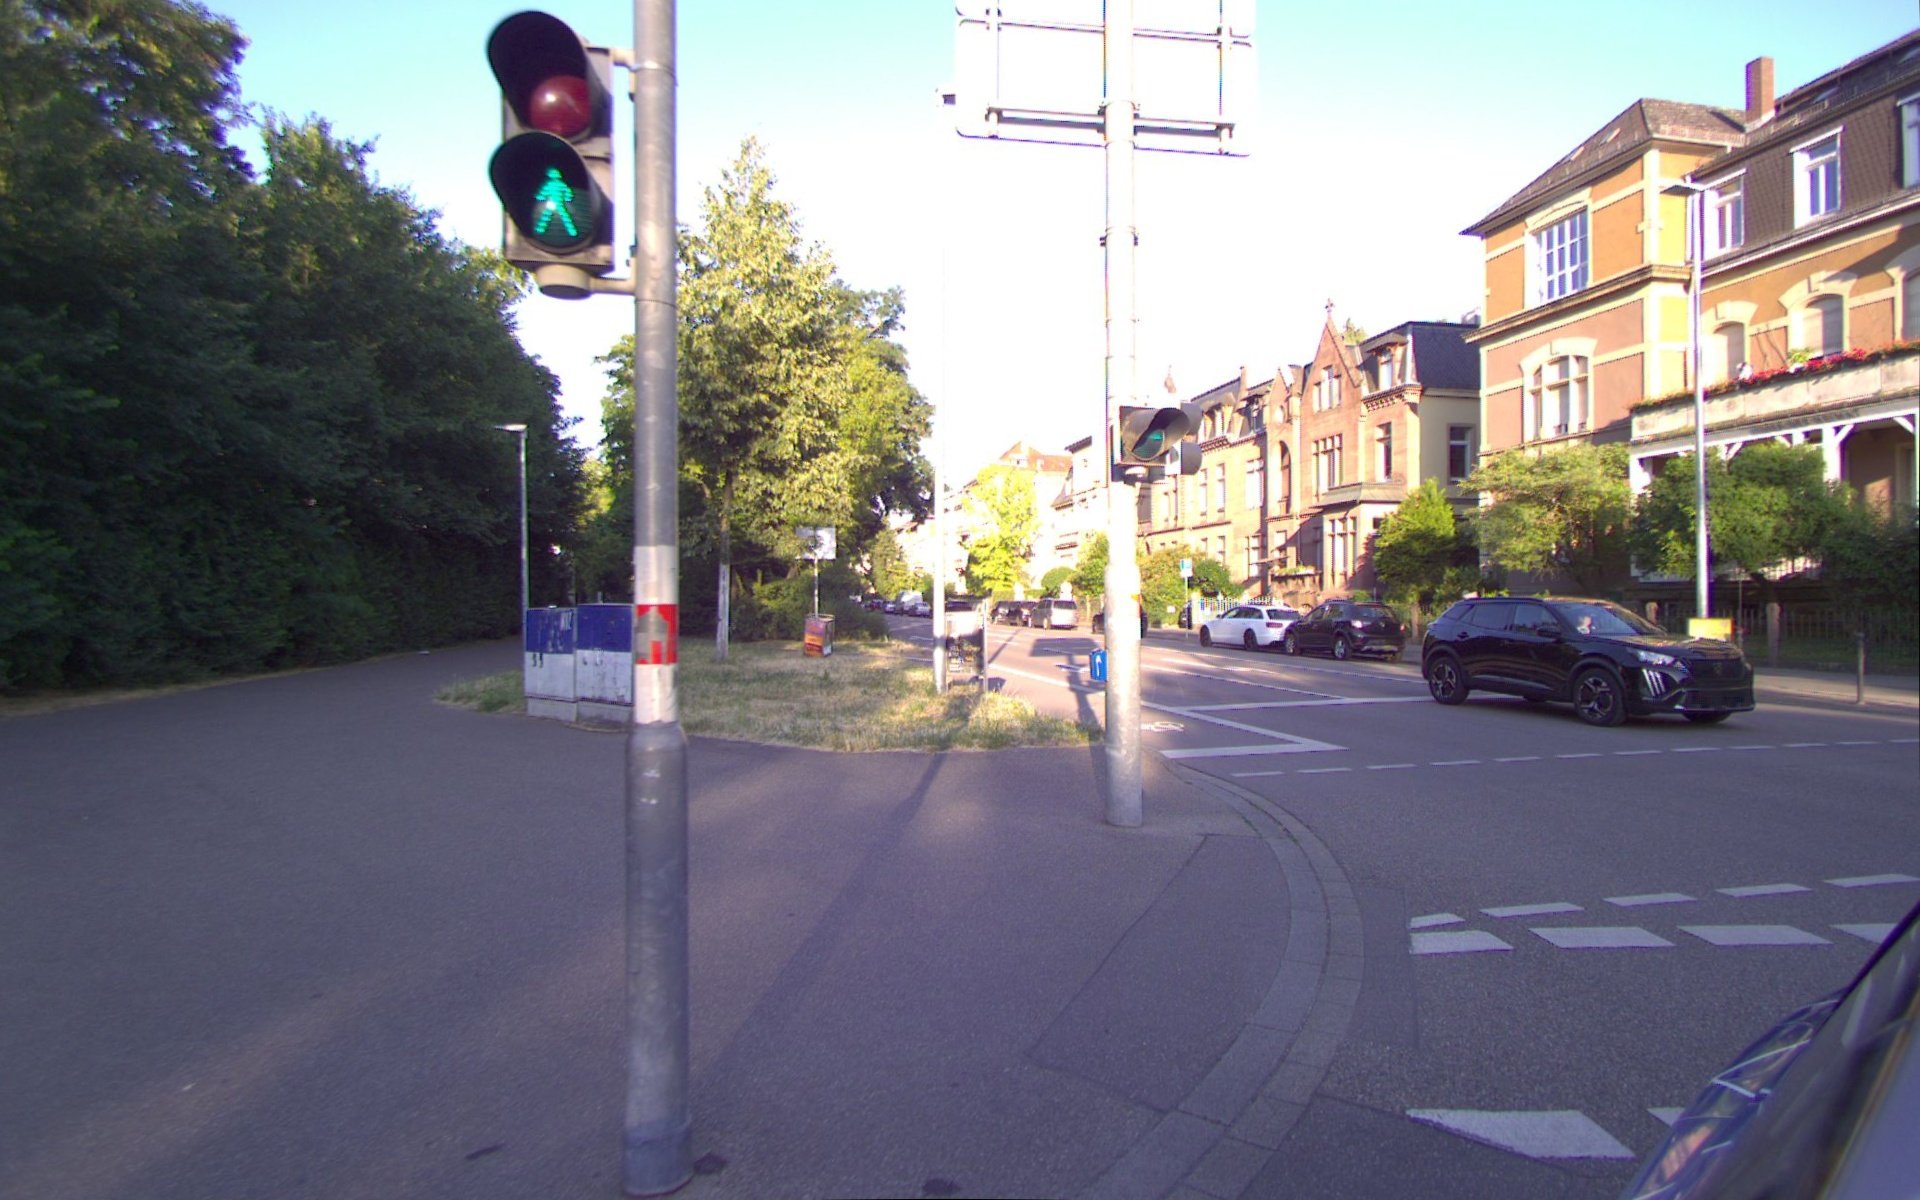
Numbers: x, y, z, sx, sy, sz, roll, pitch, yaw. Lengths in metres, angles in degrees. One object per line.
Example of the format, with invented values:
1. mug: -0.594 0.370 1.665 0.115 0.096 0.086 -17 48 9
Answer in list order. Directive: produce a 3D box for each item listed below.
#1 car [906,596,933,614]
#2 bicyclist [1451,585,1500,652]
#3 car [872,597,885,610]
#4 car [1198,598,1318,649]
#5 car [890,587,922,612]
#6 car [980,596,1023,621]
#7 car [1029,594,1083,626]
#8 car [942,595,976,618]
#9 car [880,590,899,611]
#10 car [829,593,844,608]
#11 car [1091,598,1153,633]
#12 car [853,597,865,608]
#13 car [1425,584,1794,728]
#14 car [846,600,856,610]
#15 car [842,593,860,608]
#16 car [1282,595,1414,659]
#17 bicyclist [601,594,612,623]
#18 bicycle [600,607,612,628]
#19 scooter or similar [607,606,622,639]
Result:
1. car: -3.825 0.433 94.060 1.681 1.626 3.861 1 0 -15
2. bicyclist: 13.113 0.463 25.751 0.639 1.653 0.916 -2 0 -11
3. car: -9.782 0.409 121.218 1.300 1.456 2.702 1 0 -12
4. car: 9.364 0.698 32.139 1.576 1.461 4.441 2 0 -14
5. car: -5.395 -0.055 100.644 2.186 2.399 5.890 1 0 -13
6. car: 2.527 0.528 62.916 1.681 1.468 3.730 1 0 -14
7. car: 5.026 0.516 53.366 1.681 1.609 3.760 1 0 -14
8. car: -0.127 0.473 76.870 1.842 1.625 3.731 0 2 -12
9. car: -7.856 0.046 112.701 1.539 2.294 3.807 1 0 -12
10. car: -21.372 0.088 174.501 1.958 2.488 5.590 0 0 -13
11. car: 7.043 0.662 44.298 1.599 1.463 3.572 0 0 -10
12. car: -13.423 0.333 134.472 1.196 1.456 2.519 1 0 -12
13. car: 8.092 0.609 13.119 1.648 1.555 4.007 0 0 -13
14. car: -15.639 0.735 144.784 1.196 1.456 2.519 1 0 -12
15. car: -16.174 0.060 150.277 2.159 2.242 4.535 1 0 -12
16. car: 10.481 0.688 27.614 1.599 1.554 3.729 2 -1 -10
17. bicyclist: -17.625 0.419 50.425 0.485 1.435 0.569 0 0 -16
18. bicycle: -17.622 0.856 50.425 0.492 1.027 1.530 0 0 -16
19. scooter or similar: -11.916 0.767 34.918 0.190 1.100 0.836 -2 -1 2
